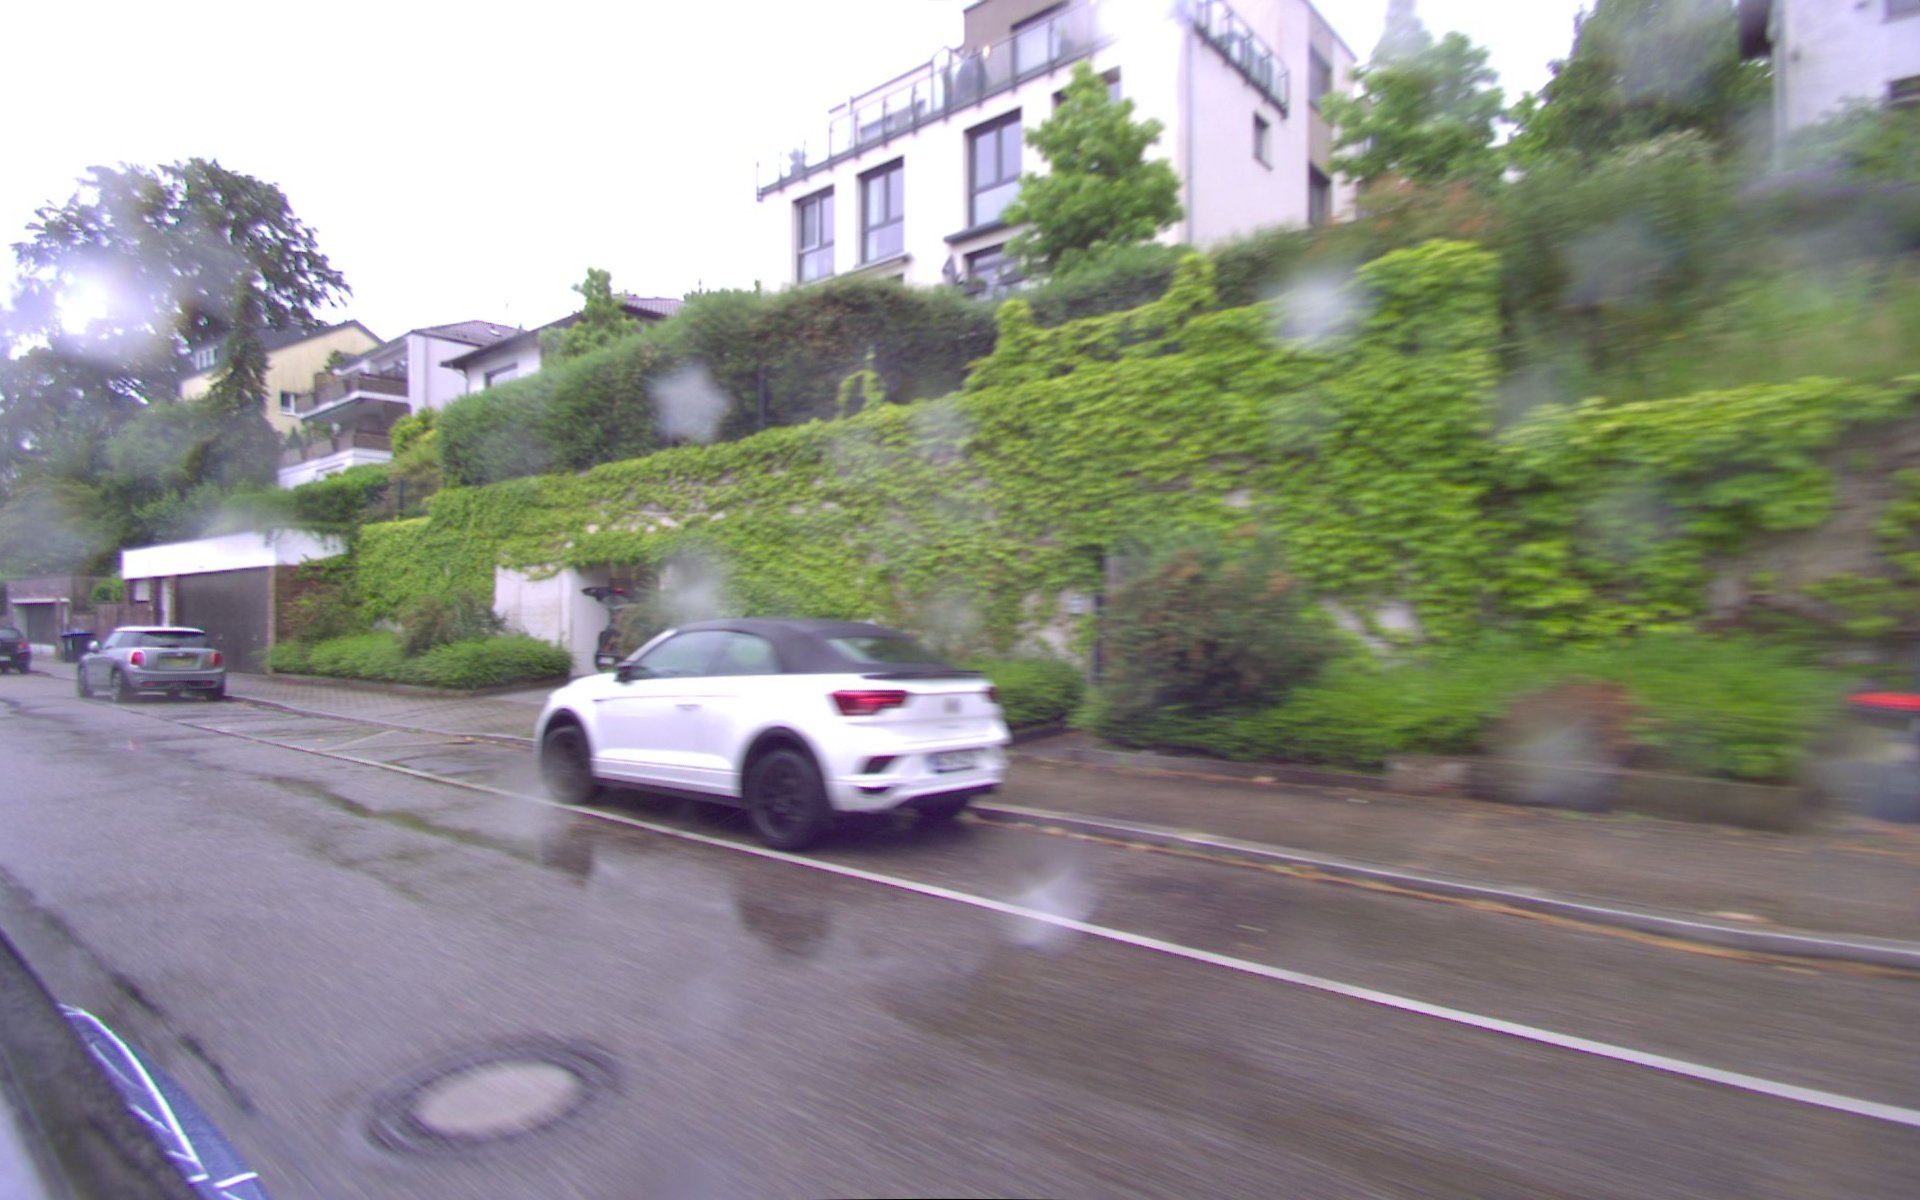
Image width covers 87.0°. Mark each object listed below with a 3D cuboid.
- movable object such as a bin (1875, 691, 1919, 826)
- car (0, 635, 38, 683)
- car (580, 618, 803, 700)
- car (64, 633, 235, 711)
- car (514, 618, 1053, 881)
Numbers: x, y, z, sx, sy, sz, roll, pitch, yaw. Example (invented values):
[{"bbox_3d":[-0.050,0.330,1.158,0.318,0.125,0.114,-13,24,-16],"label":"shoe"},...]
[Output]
[{"bbox_3d":[6.391,1.048,6.621,0.549,0.826,0.394,3,2,39],"label":"movable object such as a bin"},{"bbox_3d":[-29.832,1.786,30.922,3.698,1.420,1.740,-2,-5,37],"label":"car"},{"bbox_3d":[-5.019,1.054,19.269,1.865,1.394,3.718,-2,-2,41],"label":"car"},{"bbox_3d":[-16.173,1.384,20.156,3.763,1.413,1.739,-2,-4,37],"label":"car"},{"bbox_3d":[-1.522,0.918,7.832,4.214,1.509,1.739,-1,-2,38],"label":"car"}]
